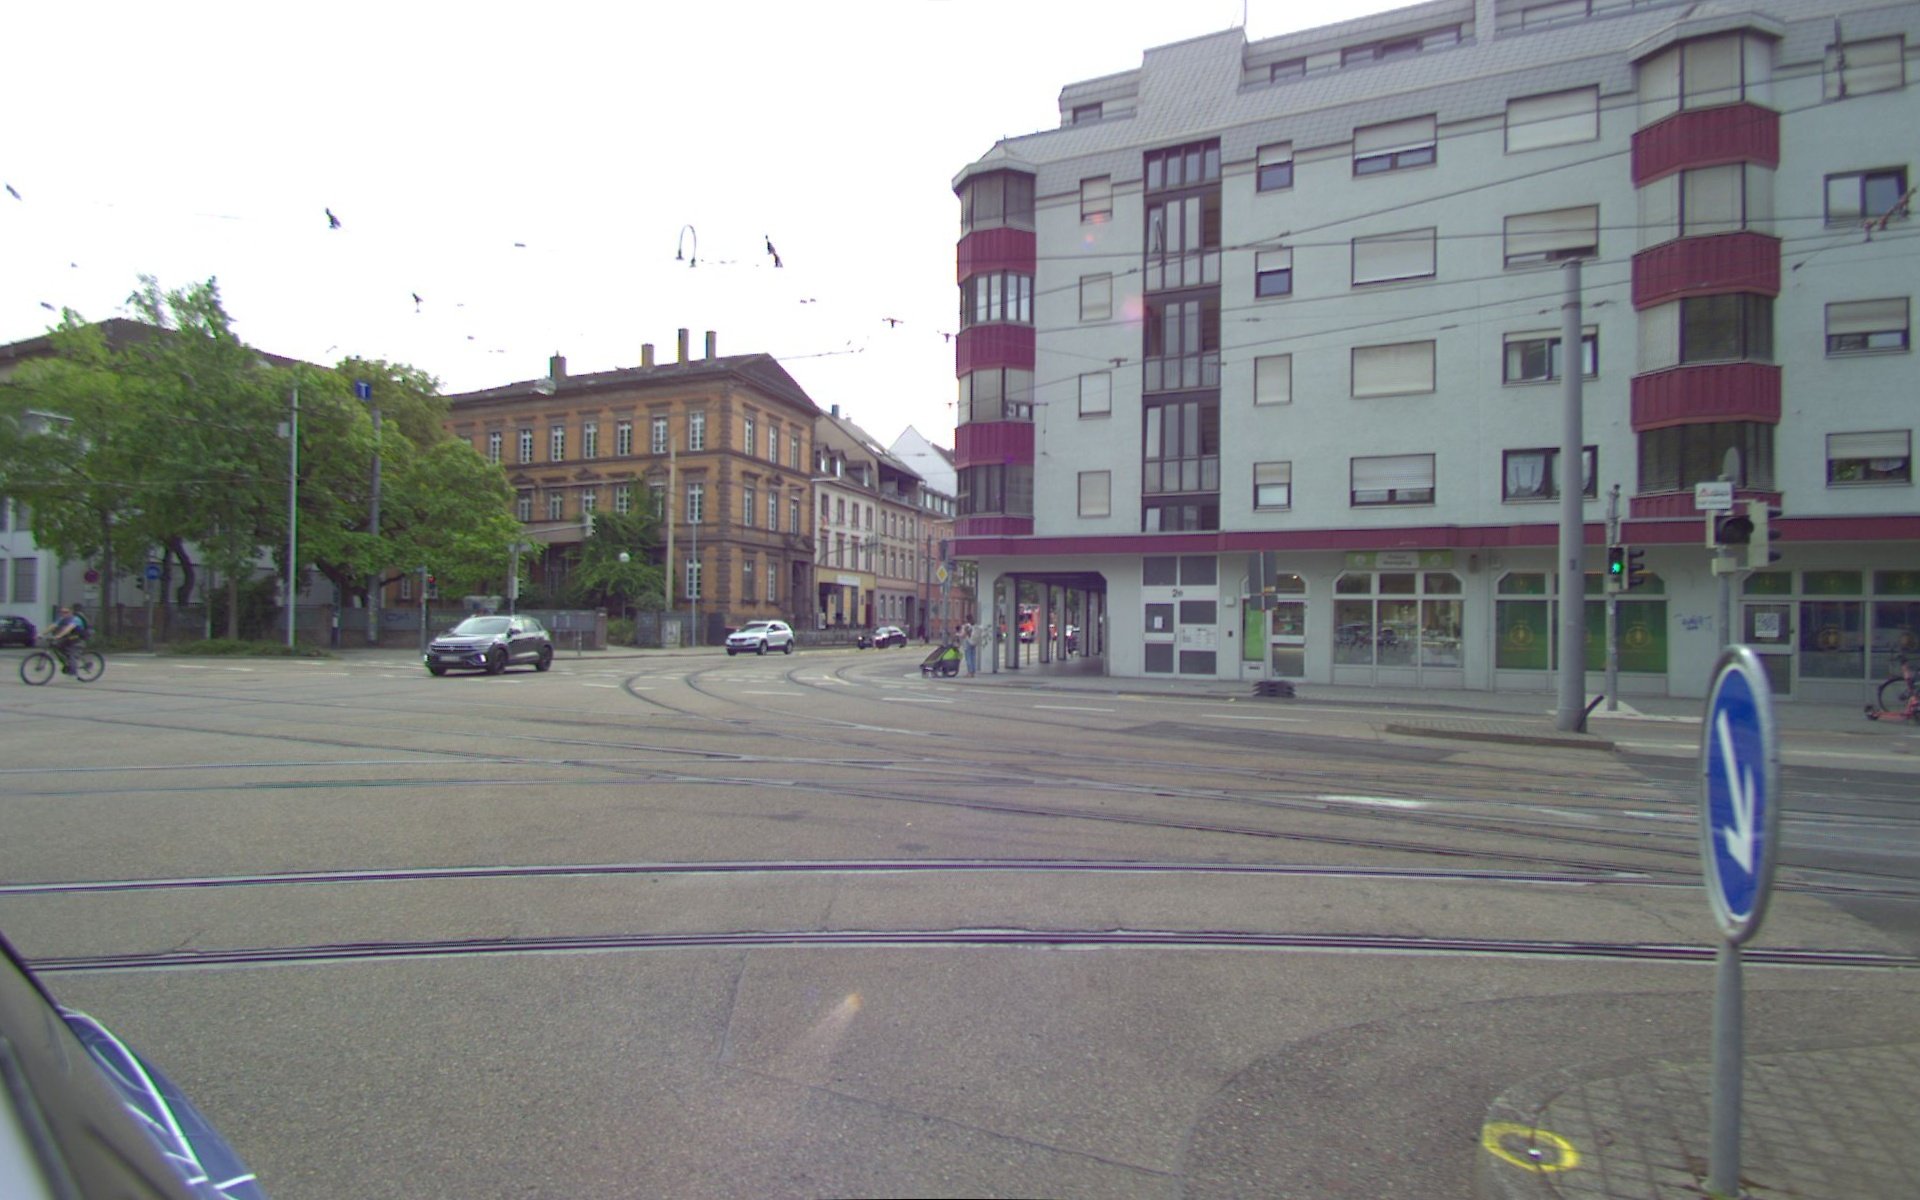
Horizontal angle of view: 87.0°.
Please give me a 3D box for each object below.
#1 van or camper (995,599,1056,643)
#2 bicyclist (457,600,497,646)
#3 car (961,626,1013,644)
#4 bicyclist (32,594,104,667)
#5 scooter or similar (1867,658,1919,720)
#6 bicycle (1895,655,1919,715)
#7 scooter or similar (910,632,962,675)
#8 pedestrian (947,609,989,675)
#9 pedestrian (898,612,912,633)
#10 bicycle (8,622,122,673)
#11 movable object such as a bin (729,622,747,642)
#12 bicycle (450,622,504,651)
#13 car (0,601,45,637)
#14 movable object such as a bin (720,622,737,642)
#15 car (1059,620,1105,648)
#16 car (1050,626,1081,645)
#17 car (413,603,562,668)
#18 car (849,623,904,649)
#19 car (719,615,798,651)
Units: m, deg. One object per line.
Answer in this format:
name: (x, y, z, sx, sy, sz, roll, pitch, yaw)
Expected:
van or camper: (5.616, 1.801, 84.767, 2.589, 3.447, 9.590, 0, -2, 19)
bicyclist: (-18.671, 0.892, 39.154, 1.245, 1.774, 0.742, 0, -2, 25)
car: (2.441, 3.190, 93.516, 4.558, 1.484, 1.791, 2, -2, -5)
bicyclist: (-19.192, 0.643, 21.788, 0.708, 1.518, 0.916, 1, -1, 8)
scooter or similar: (16.782, 1.568, 17.942, 0.346, 0.995, 1.174, 1, 1, 2)
bicycle: (17.451, 1.564, 18.041, 0.475, 1.026, 1.721, 0, 1, 18)
scooter or similar: (-0.650, 1.438, 27.592, 1.189, 1.137, 0.941, -1, -2, 18)
pedestrian: (0.234, 1.118, 27.341, 0.942, 1.757, 0.808, 0, -2, 17)
pedestrian: (-4.493, 1.846, 83.065, 0.727, 1.701, 0.921, 4, -1, 18)
bicycle: (-19.200, 0.989, 21.768, 0.706, 1.026, 1.796, 1, -1, 7)
movable object such as a bin: (-12.505, 1.795, 57.021, 0.659, 1.090, 0.697, 4, 0, 15)
bicycle: (-18.680, 1.400, 39.136, 2.005, 1.095, 0.744, 0, -2, 26)
car: (-43.644, 0.872, 45.783, 4.394, 1.573, 1.722, 0, -2, 25)
movable object such as a bin: (-12.893, 1.775, 56.399, 0.647, 1.090, 0.674, 4, 0, 15)
car: (7.036, 1.929, 58.123, 1.746, 1.491, 4.669, -2, -2, 18)
car: (10.027, 3.311, 95.793, 1.985, 1.721, 4.026, 0, -2, 20)
car: (-12.452, 0.943, 27.003, 1.751, 1.559, 4.277, 1, -2, 3)
car: (-5.042, 2.189, 61.866, 1.763, 1.547, 4.018, -2, -2, 22)
car: (-9.468, 1.569, 47.799, 1.761, 1.603, 4.254, -1, -2, 19)
